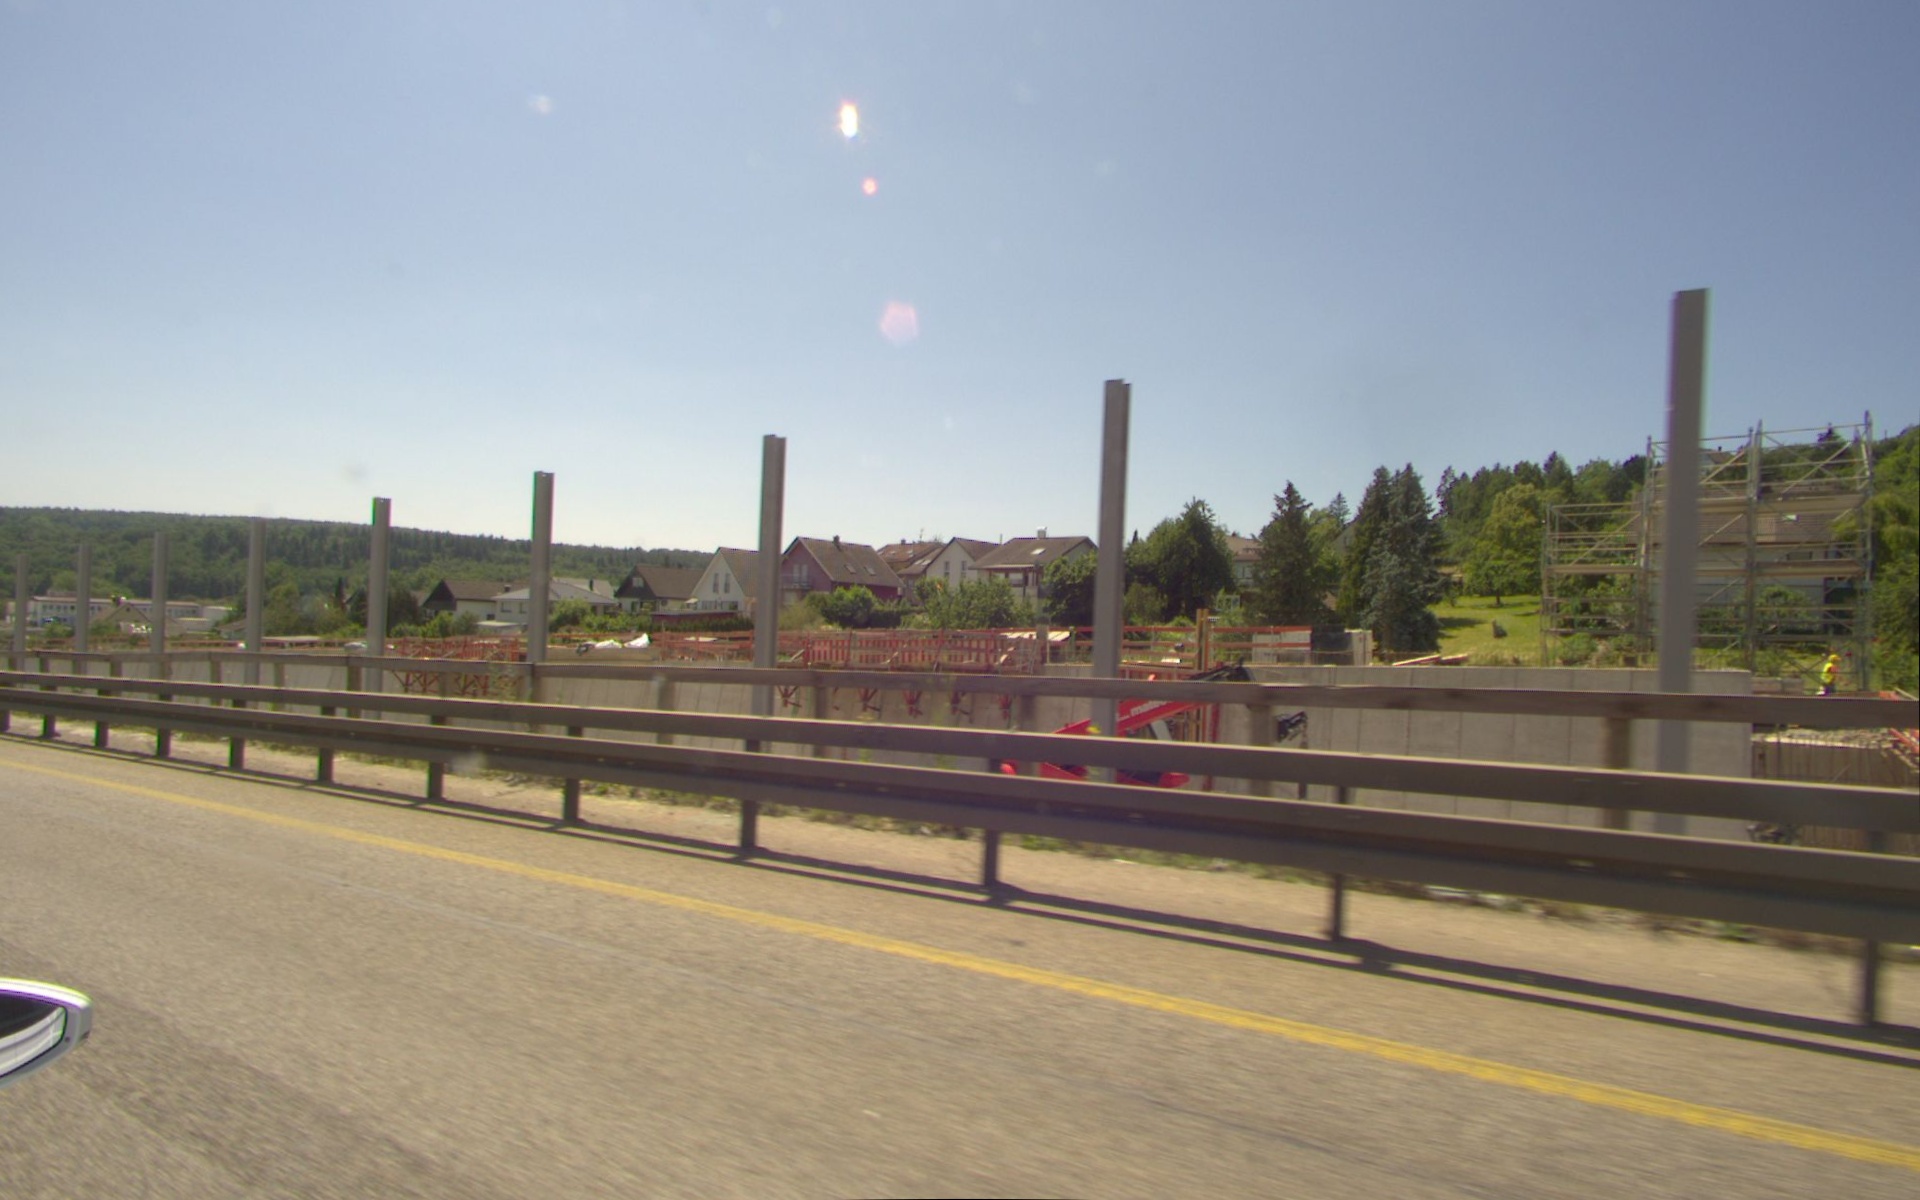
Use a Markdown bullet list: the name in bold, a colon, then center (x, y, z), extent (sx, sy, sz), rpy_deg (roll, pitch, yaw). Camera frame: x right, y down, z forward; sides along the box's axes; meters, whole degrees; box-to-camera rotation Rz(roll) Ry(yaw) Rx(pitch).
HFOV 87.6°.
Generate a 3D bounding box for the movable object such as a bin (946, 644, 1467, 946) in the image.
- **movable object such as a bin**: center (4.581, 3.331, 19.936), extent (9.519, 4.802, 3.222), rpy_deg (-2, -2, 32)

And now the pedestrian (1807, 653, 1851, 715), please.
- **pedestrian**: center (29.201, 2.796, 33.668), extent (0.960, 2.012, 1.134), rpy_deg (-2, -2, 36)
